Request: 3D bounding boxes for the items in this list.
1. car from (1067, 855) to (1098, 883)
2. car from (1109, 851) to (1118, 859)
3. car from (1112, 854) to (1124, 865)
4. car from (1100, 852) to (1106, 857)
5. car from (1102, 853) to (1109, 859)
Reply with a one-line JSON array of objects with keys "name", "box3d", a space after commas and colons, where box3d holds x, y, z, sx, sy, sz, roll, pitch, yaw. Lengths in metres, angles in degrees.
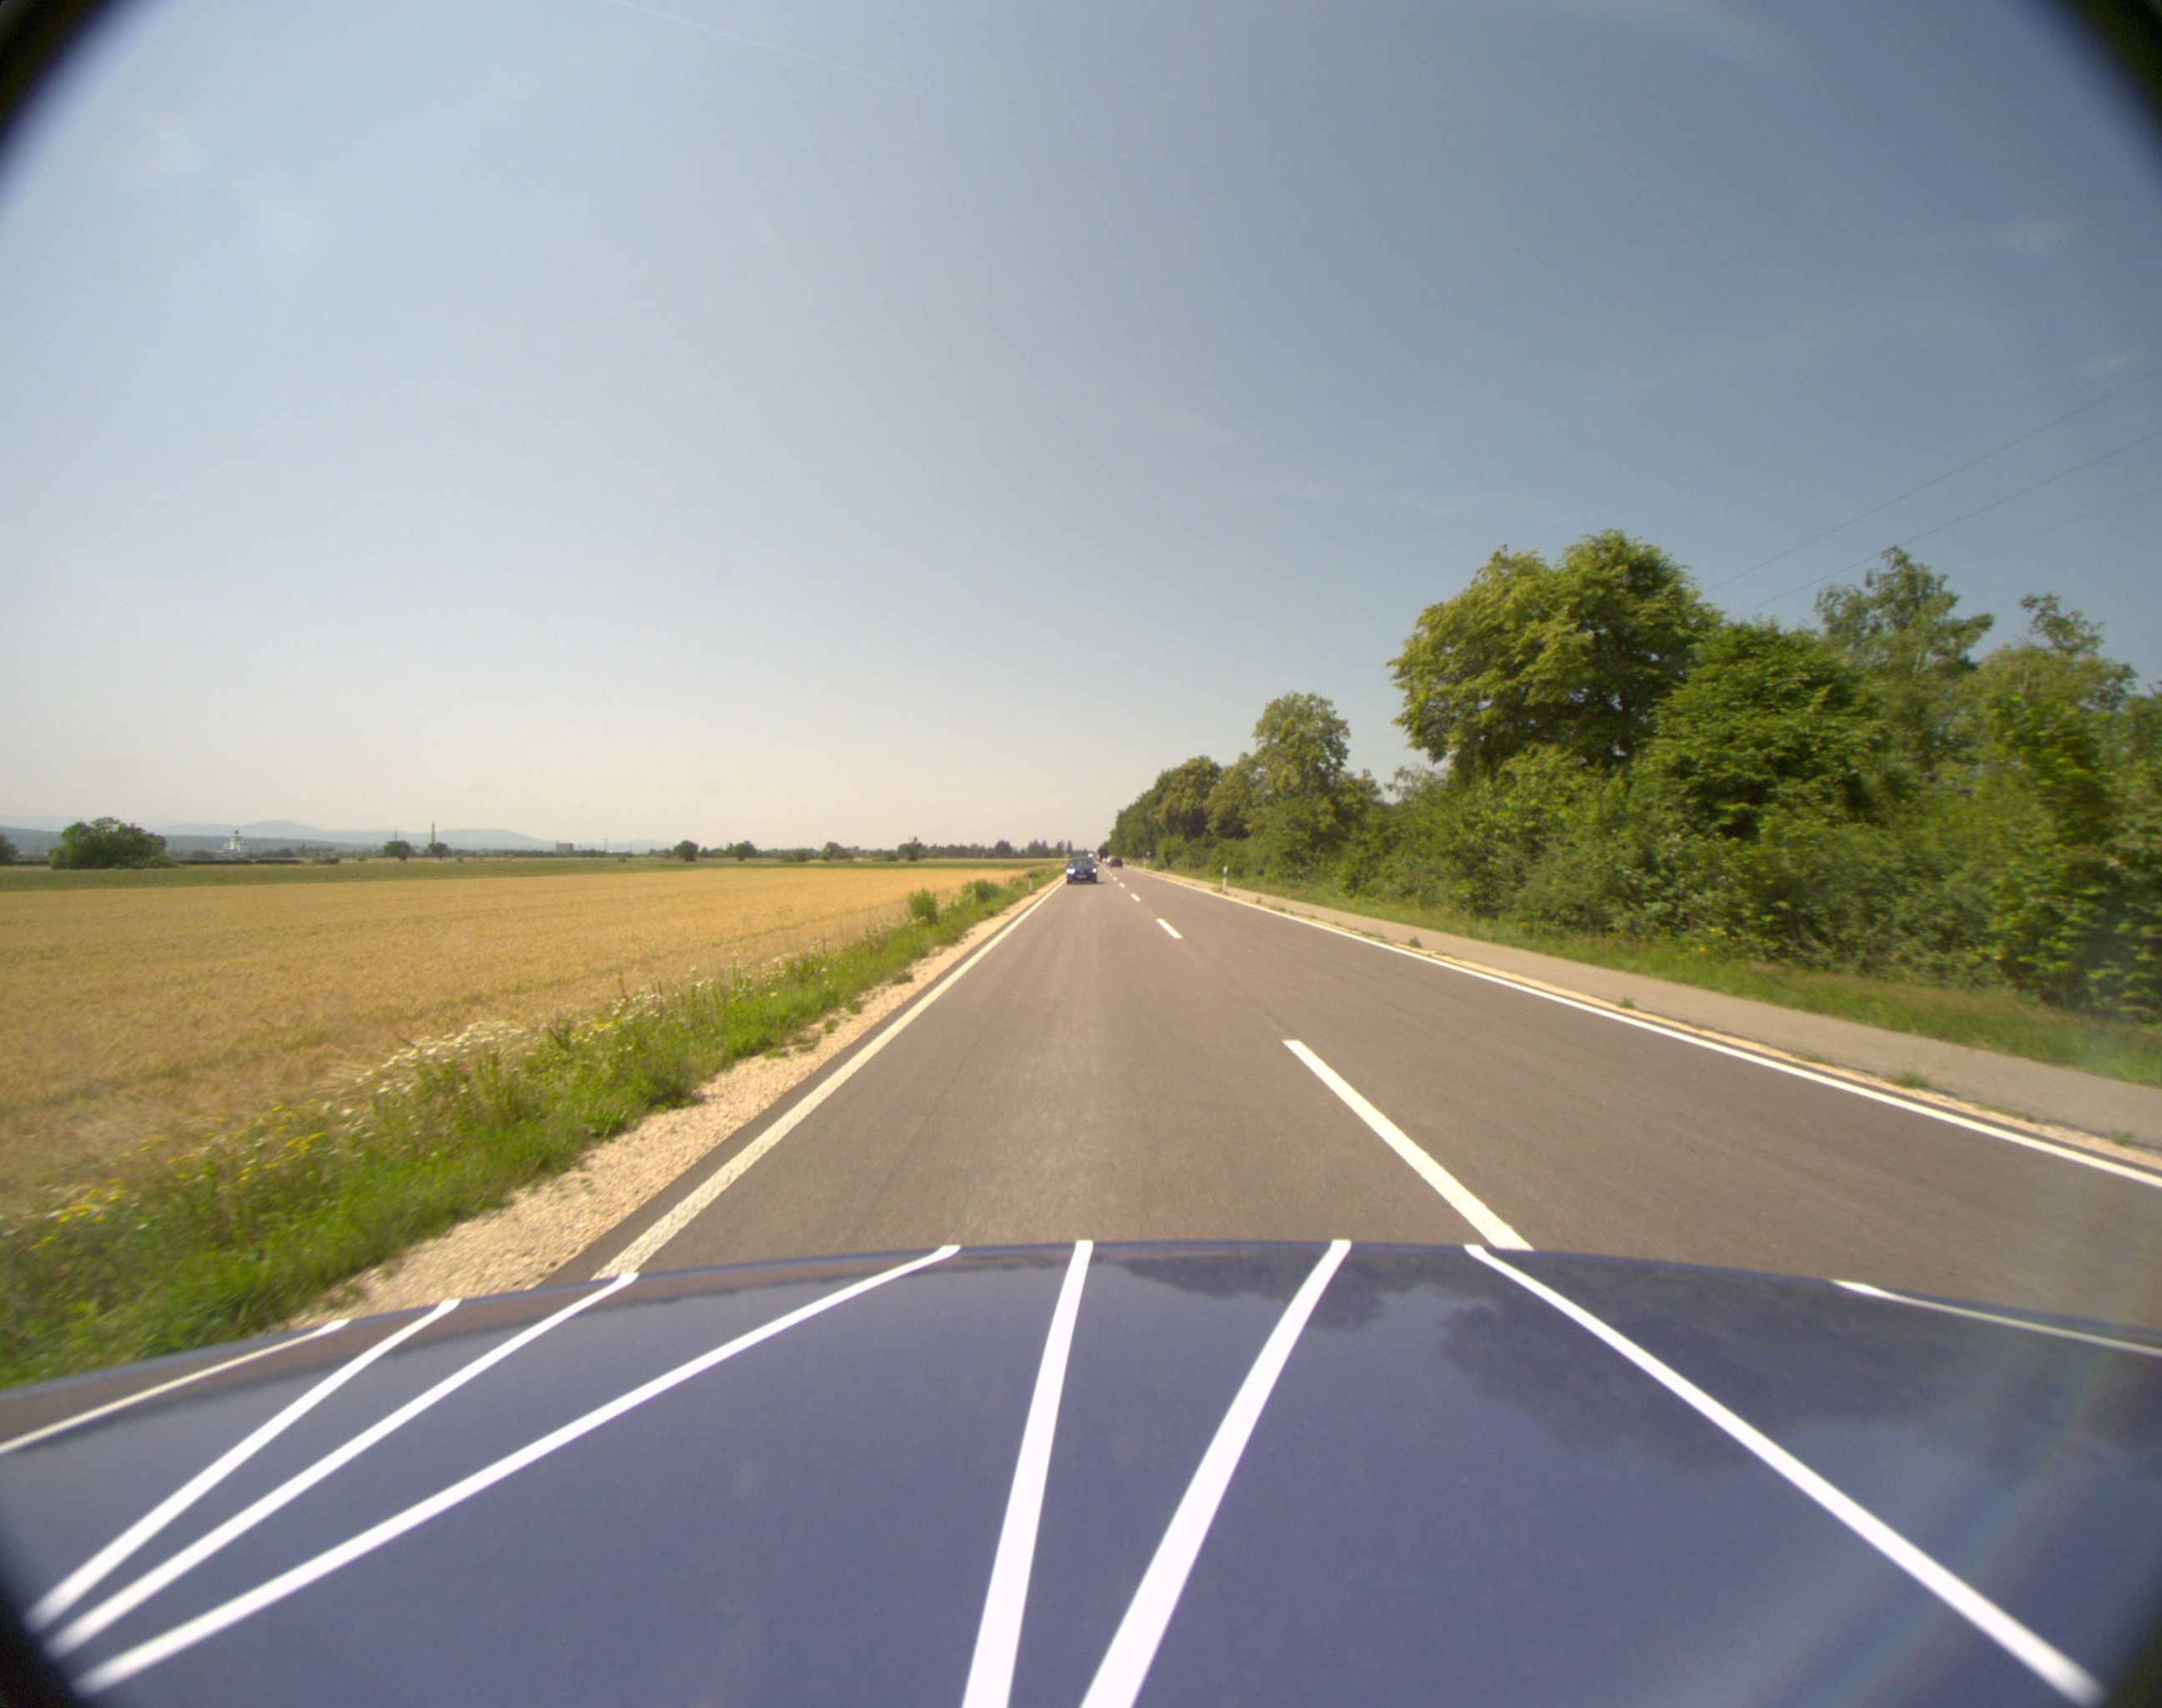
[{"name": "car", "box3d": [0.086, 0.845, 44.146, 1.662, 1.509, 4.000, -2, 0, 0]}, {"name": "car", "box3d": [6.105, 0.112, 142.590, 1.662, 1.508, 4.000, 0, 0, 1]}, {"name": "car", "box3d": [5.305, 0.783, 108.774, 1.661, 1.508, 4.000, 0, 0, 2]}, {"name": "car", "box3d": [6.304, 0.226, 216.405, 1.662, 1.508, 4.000, 0, 0, -1]}, {"name": "car", "box3d": [6.533, 0.569, 200.097, 1.662, 1.508, 4.000, 0, 0, 0]}]
